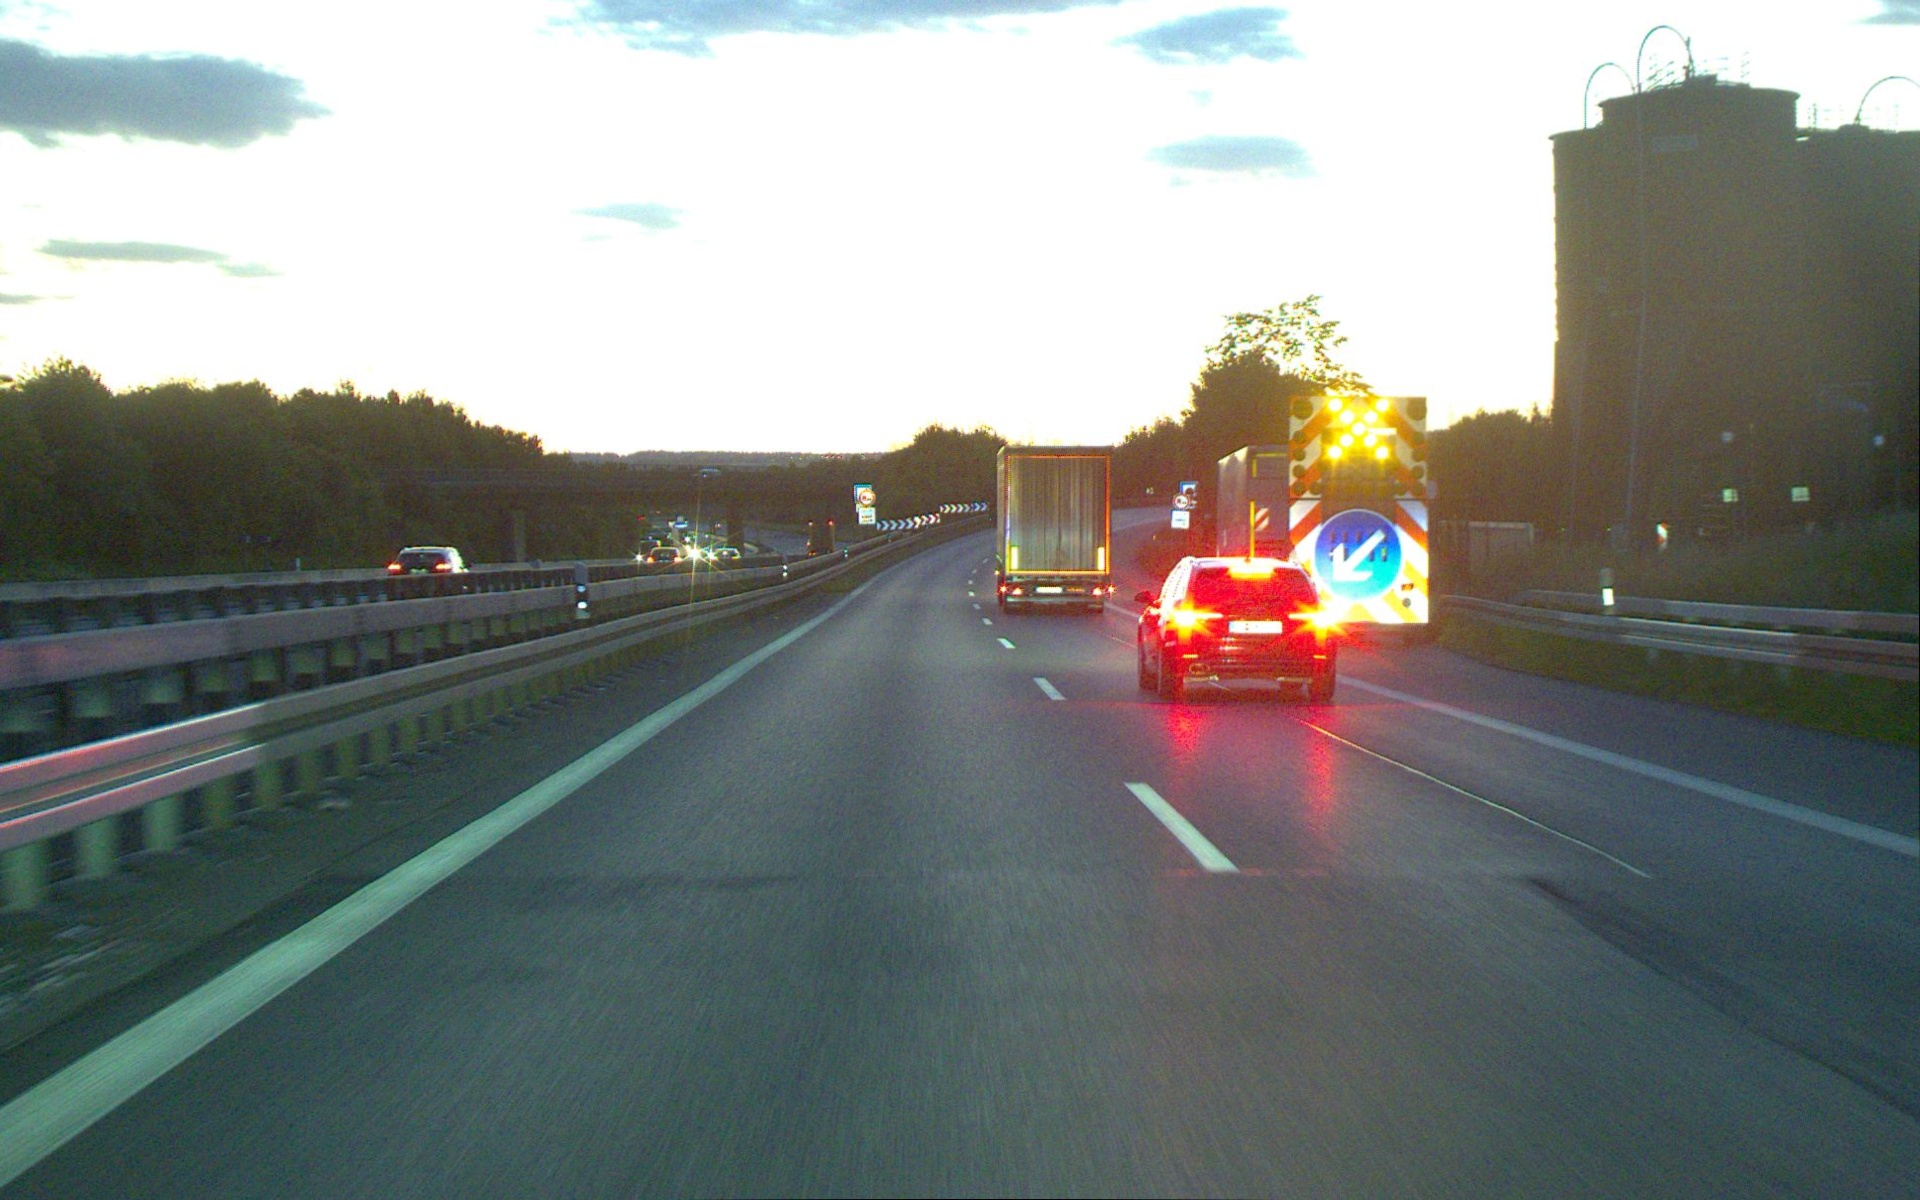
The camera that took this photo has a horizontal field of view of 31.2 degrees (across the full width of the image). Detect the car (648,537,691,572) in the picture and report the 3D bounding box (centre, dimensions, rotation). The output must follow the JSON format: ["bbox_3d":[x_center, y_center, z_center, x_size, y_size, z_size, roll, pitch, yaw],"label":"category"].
[{"bbox_3d":[-13.790,-2.175,163.159,1.713,1.600,3.722,-2,1,0],"label":"car"}]

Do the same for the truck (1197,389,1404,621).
[{"bbox_3d":[6.344,-1.762,65.385,2.913,4.097,9.150,0,1,-1],"label":"truck"}]

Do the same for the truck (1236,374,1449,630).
[{"bbox_3d":[6.315,-1.609,57.613,2.788,4.045,6.412,0,1,-1],"label":"truck"}]

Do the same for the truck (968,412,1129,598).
[{"bbox_3d":[2.094,-2.312,86.036,3.509,4.286,9.892,-2,1,-1],"label":"truck"}]

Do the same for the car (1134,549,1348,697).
[{"bbox_3d":[2.862,0.200,35.804,1.915,1.437,4.000,1,1,0],"label":"car"}]

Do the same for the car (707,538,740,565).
[{"bbox_3d":[-14.010,-2.854,203.771,1.638,1.541,3.395,-2,1,0],"label":"car"}]

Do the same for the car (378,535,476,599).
[{"bbox_3d":[-13.920,-0.875,90.006,1.872,1.556,4.520,-2,1,-1],"label":"car"}]
